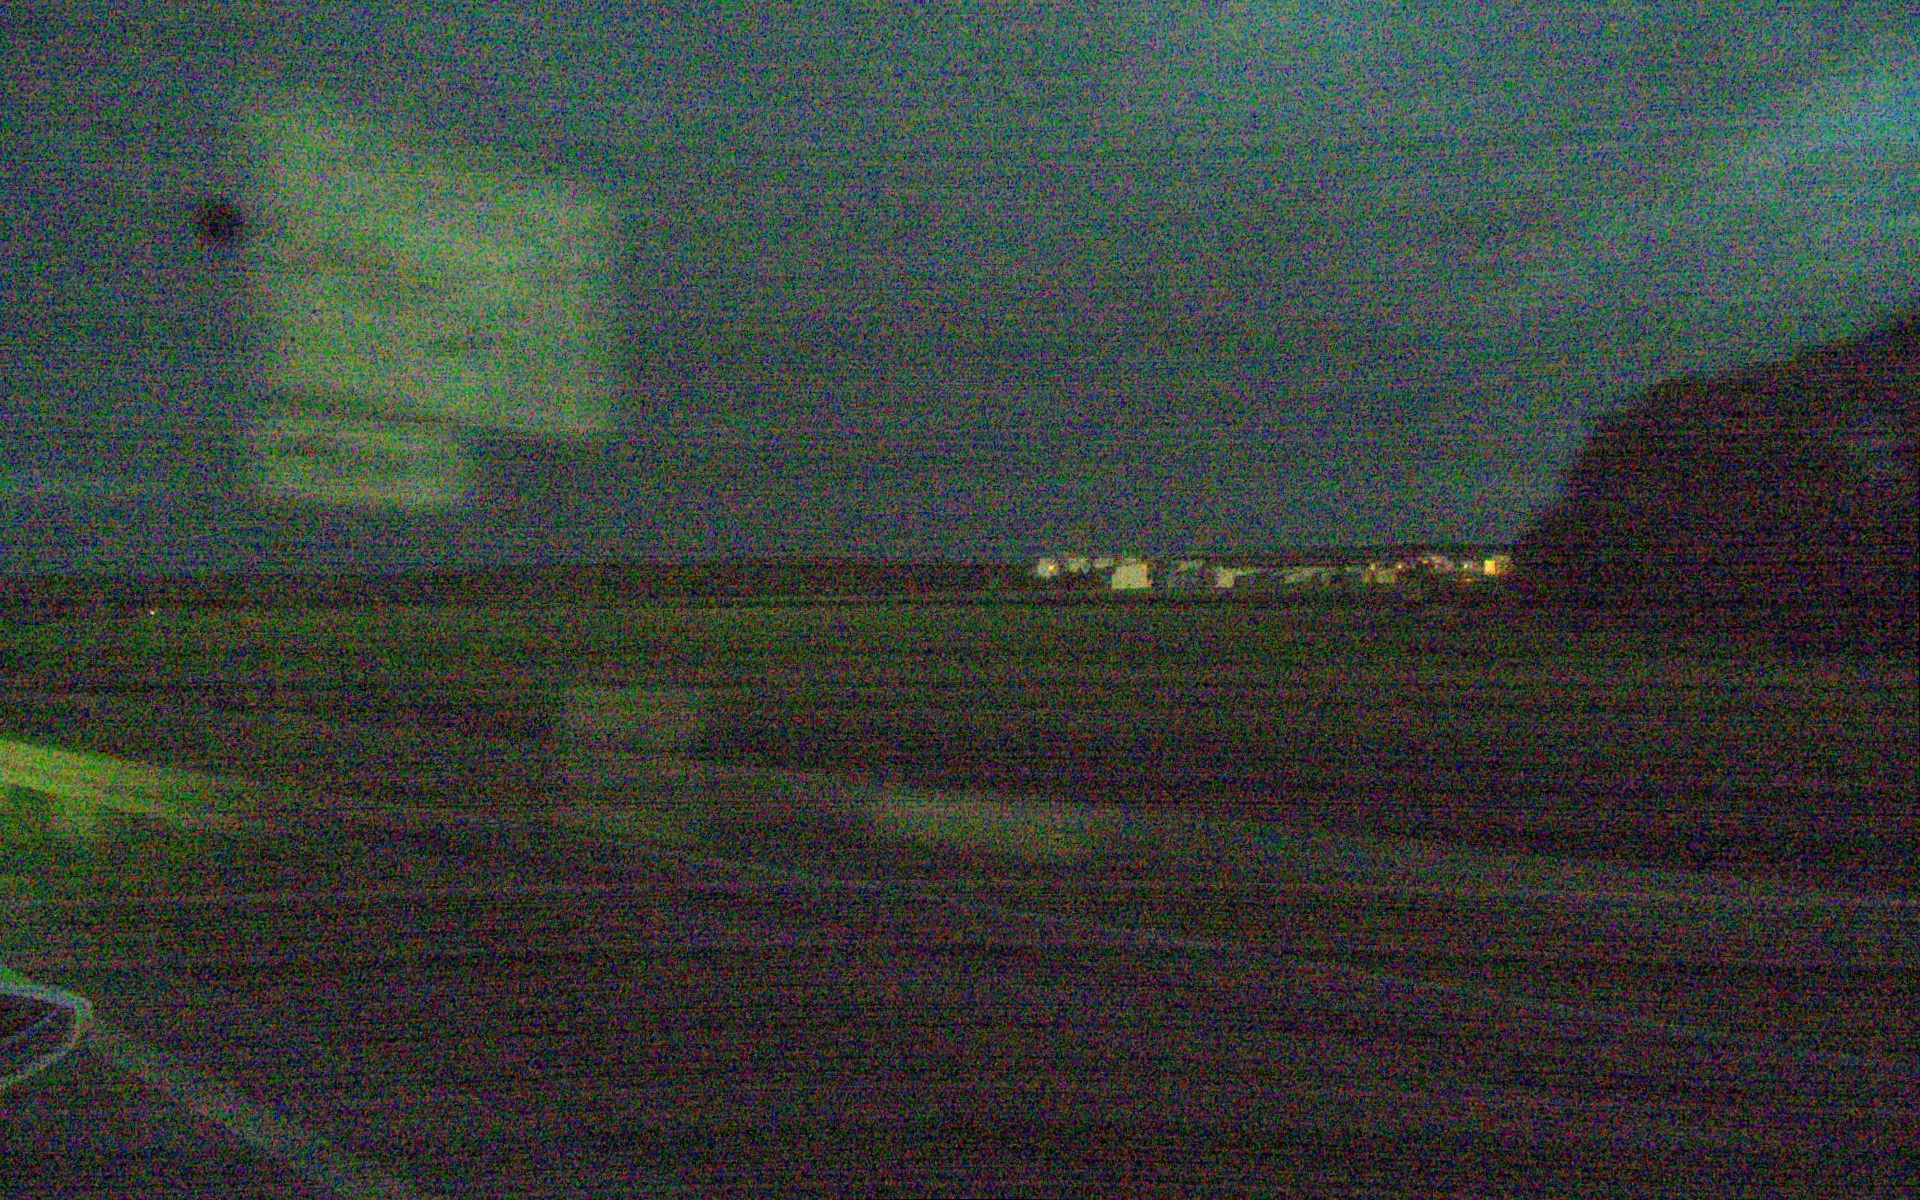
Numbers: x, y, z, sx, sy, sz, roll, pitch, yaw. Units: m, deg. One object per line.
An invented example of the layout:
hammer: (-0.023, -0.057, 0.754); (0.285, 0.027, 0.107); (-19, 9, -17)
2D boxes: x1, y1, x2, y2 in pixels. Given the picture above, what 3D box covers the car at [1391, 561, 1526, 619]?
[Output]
car: (19.331, -0.361, 39.063); (4.500, 2.181, 1.995); (-1, 1, 20)
